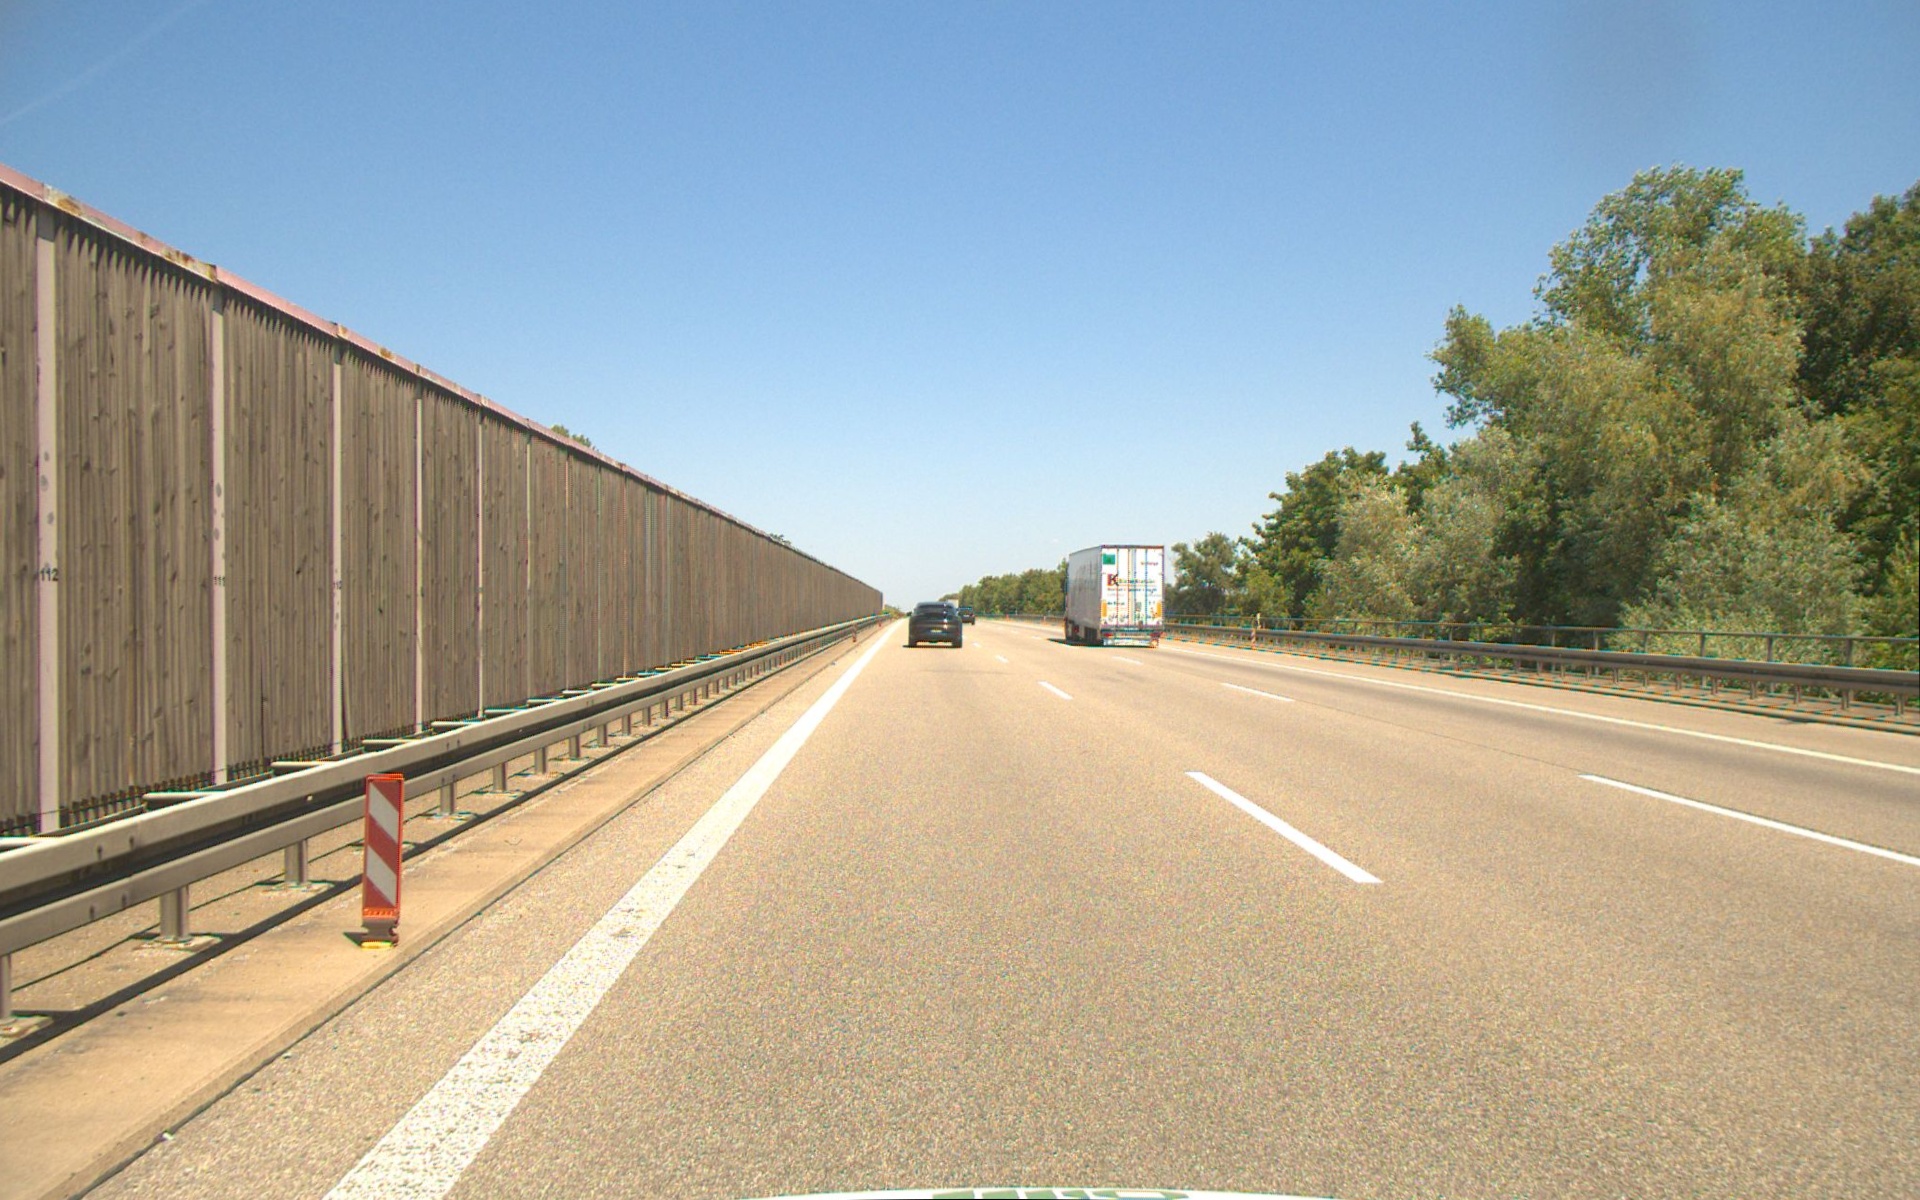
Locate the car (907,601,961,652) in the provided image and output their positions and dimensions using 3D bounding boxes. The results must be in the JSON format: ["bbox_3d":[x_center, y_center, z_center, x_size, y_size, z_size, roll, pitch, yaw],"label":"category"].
[{"bbox_3d":[-0.994,0.938,61.141,1.842,1.823,3.998,0,0,-3],"label":"car"}]

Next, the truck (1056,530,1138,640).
[{"bbox_3d":[6.455,-0.695,78.942,3.168,4.975,6.970,1,0,-1],"label":"truck"}]

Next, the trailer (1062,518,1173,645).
[{"bbox_3d":[6.629,-0.710,72.003,3.203,4.922,14.025,1,0,-1],"label":"trailer"}]

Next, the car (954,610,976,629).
[{"bbox_3d":[0.461,1.745,148.462,1.864,1.612,4.302,-1,-1,-1],"label":"car"}]
